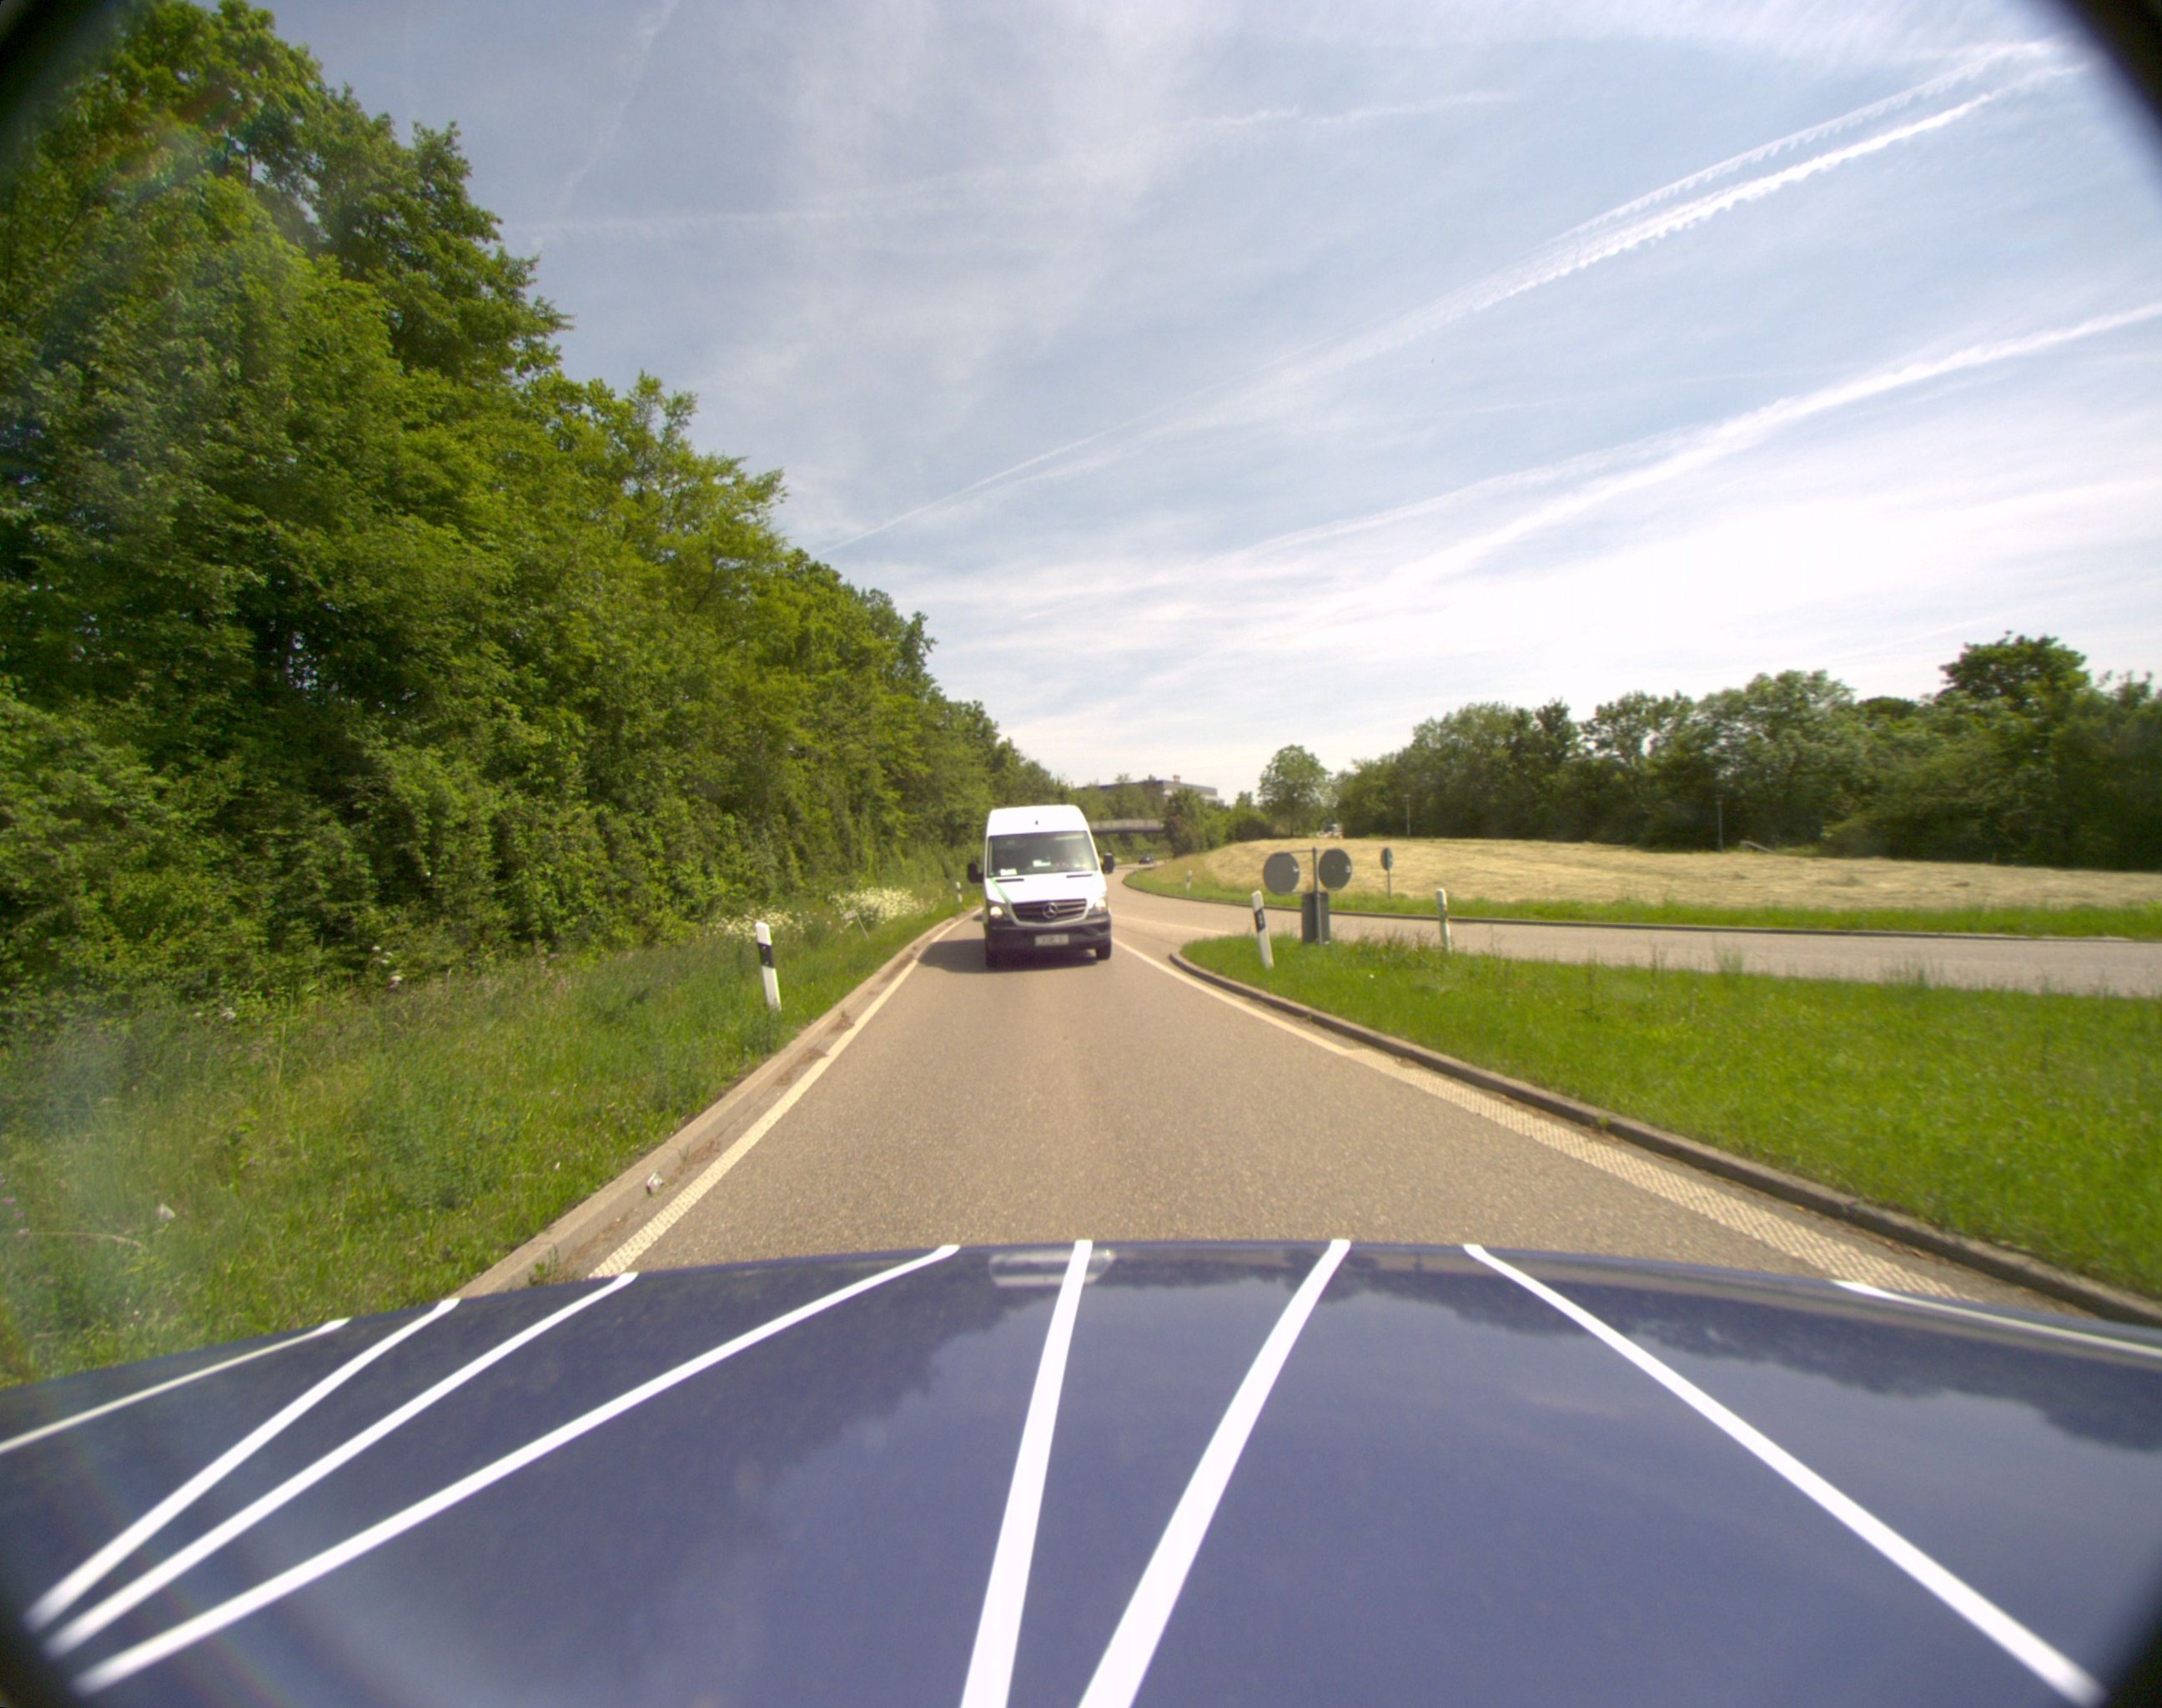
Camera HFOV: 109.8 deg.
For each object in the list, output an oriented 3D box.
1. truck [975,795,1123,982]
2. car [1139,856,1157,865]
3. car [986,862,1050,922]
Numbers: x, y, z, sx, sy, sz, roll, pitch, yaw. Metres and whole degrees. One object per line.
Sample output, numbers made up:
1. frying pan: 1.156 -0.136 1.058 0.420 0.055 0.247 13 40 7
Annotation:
1. truck: -0.821 0.535 13.794 2.000 2.571 5.884 -3 -1 -7
2. car: 10.809 1.049 122.598 1.956 1.414 3.943 -1 -1 18
3. car: -2.044 1.172 24.814 1.850 1.698 4.088 -2 -1 -4
